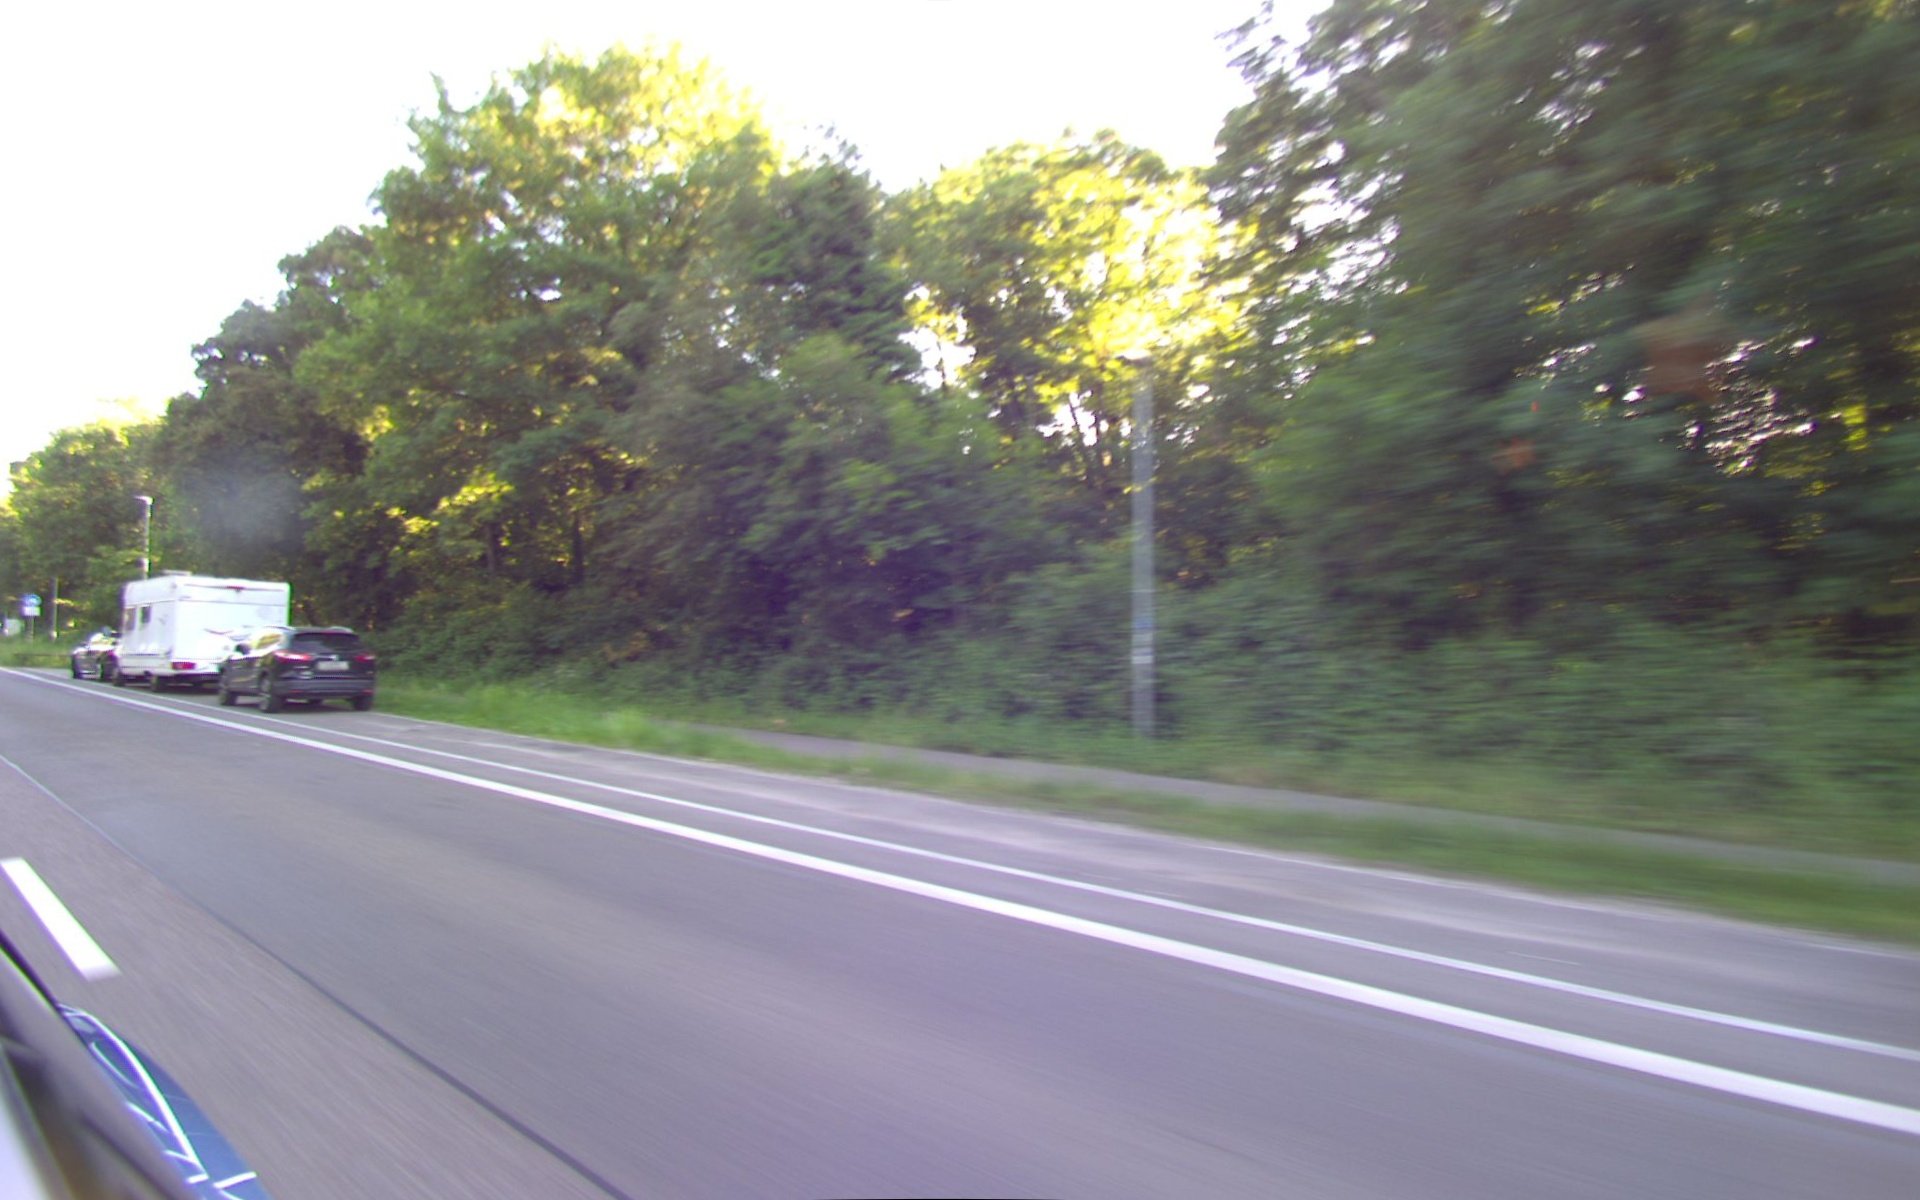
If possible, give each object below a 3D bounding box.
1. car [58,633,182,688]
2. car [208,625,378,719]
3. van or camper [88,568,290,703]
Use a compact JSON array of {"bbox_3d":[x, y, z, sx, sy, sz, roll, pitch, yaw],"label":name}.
[{"bbox_3d":[-24.845,1.750,29.884,4.675,1.487,1.809,-2,-4,38],"label":"car"},{"bbox_3d":[-13.081,1.368,19.752,4.271,1.644,1.628,-2,-5,41],"label":"car"},{"bbox_3d":[-19.644,0.944,25.618,7.103,2.993,2.292,-2,-5,39],"label":"van or camper"}]
